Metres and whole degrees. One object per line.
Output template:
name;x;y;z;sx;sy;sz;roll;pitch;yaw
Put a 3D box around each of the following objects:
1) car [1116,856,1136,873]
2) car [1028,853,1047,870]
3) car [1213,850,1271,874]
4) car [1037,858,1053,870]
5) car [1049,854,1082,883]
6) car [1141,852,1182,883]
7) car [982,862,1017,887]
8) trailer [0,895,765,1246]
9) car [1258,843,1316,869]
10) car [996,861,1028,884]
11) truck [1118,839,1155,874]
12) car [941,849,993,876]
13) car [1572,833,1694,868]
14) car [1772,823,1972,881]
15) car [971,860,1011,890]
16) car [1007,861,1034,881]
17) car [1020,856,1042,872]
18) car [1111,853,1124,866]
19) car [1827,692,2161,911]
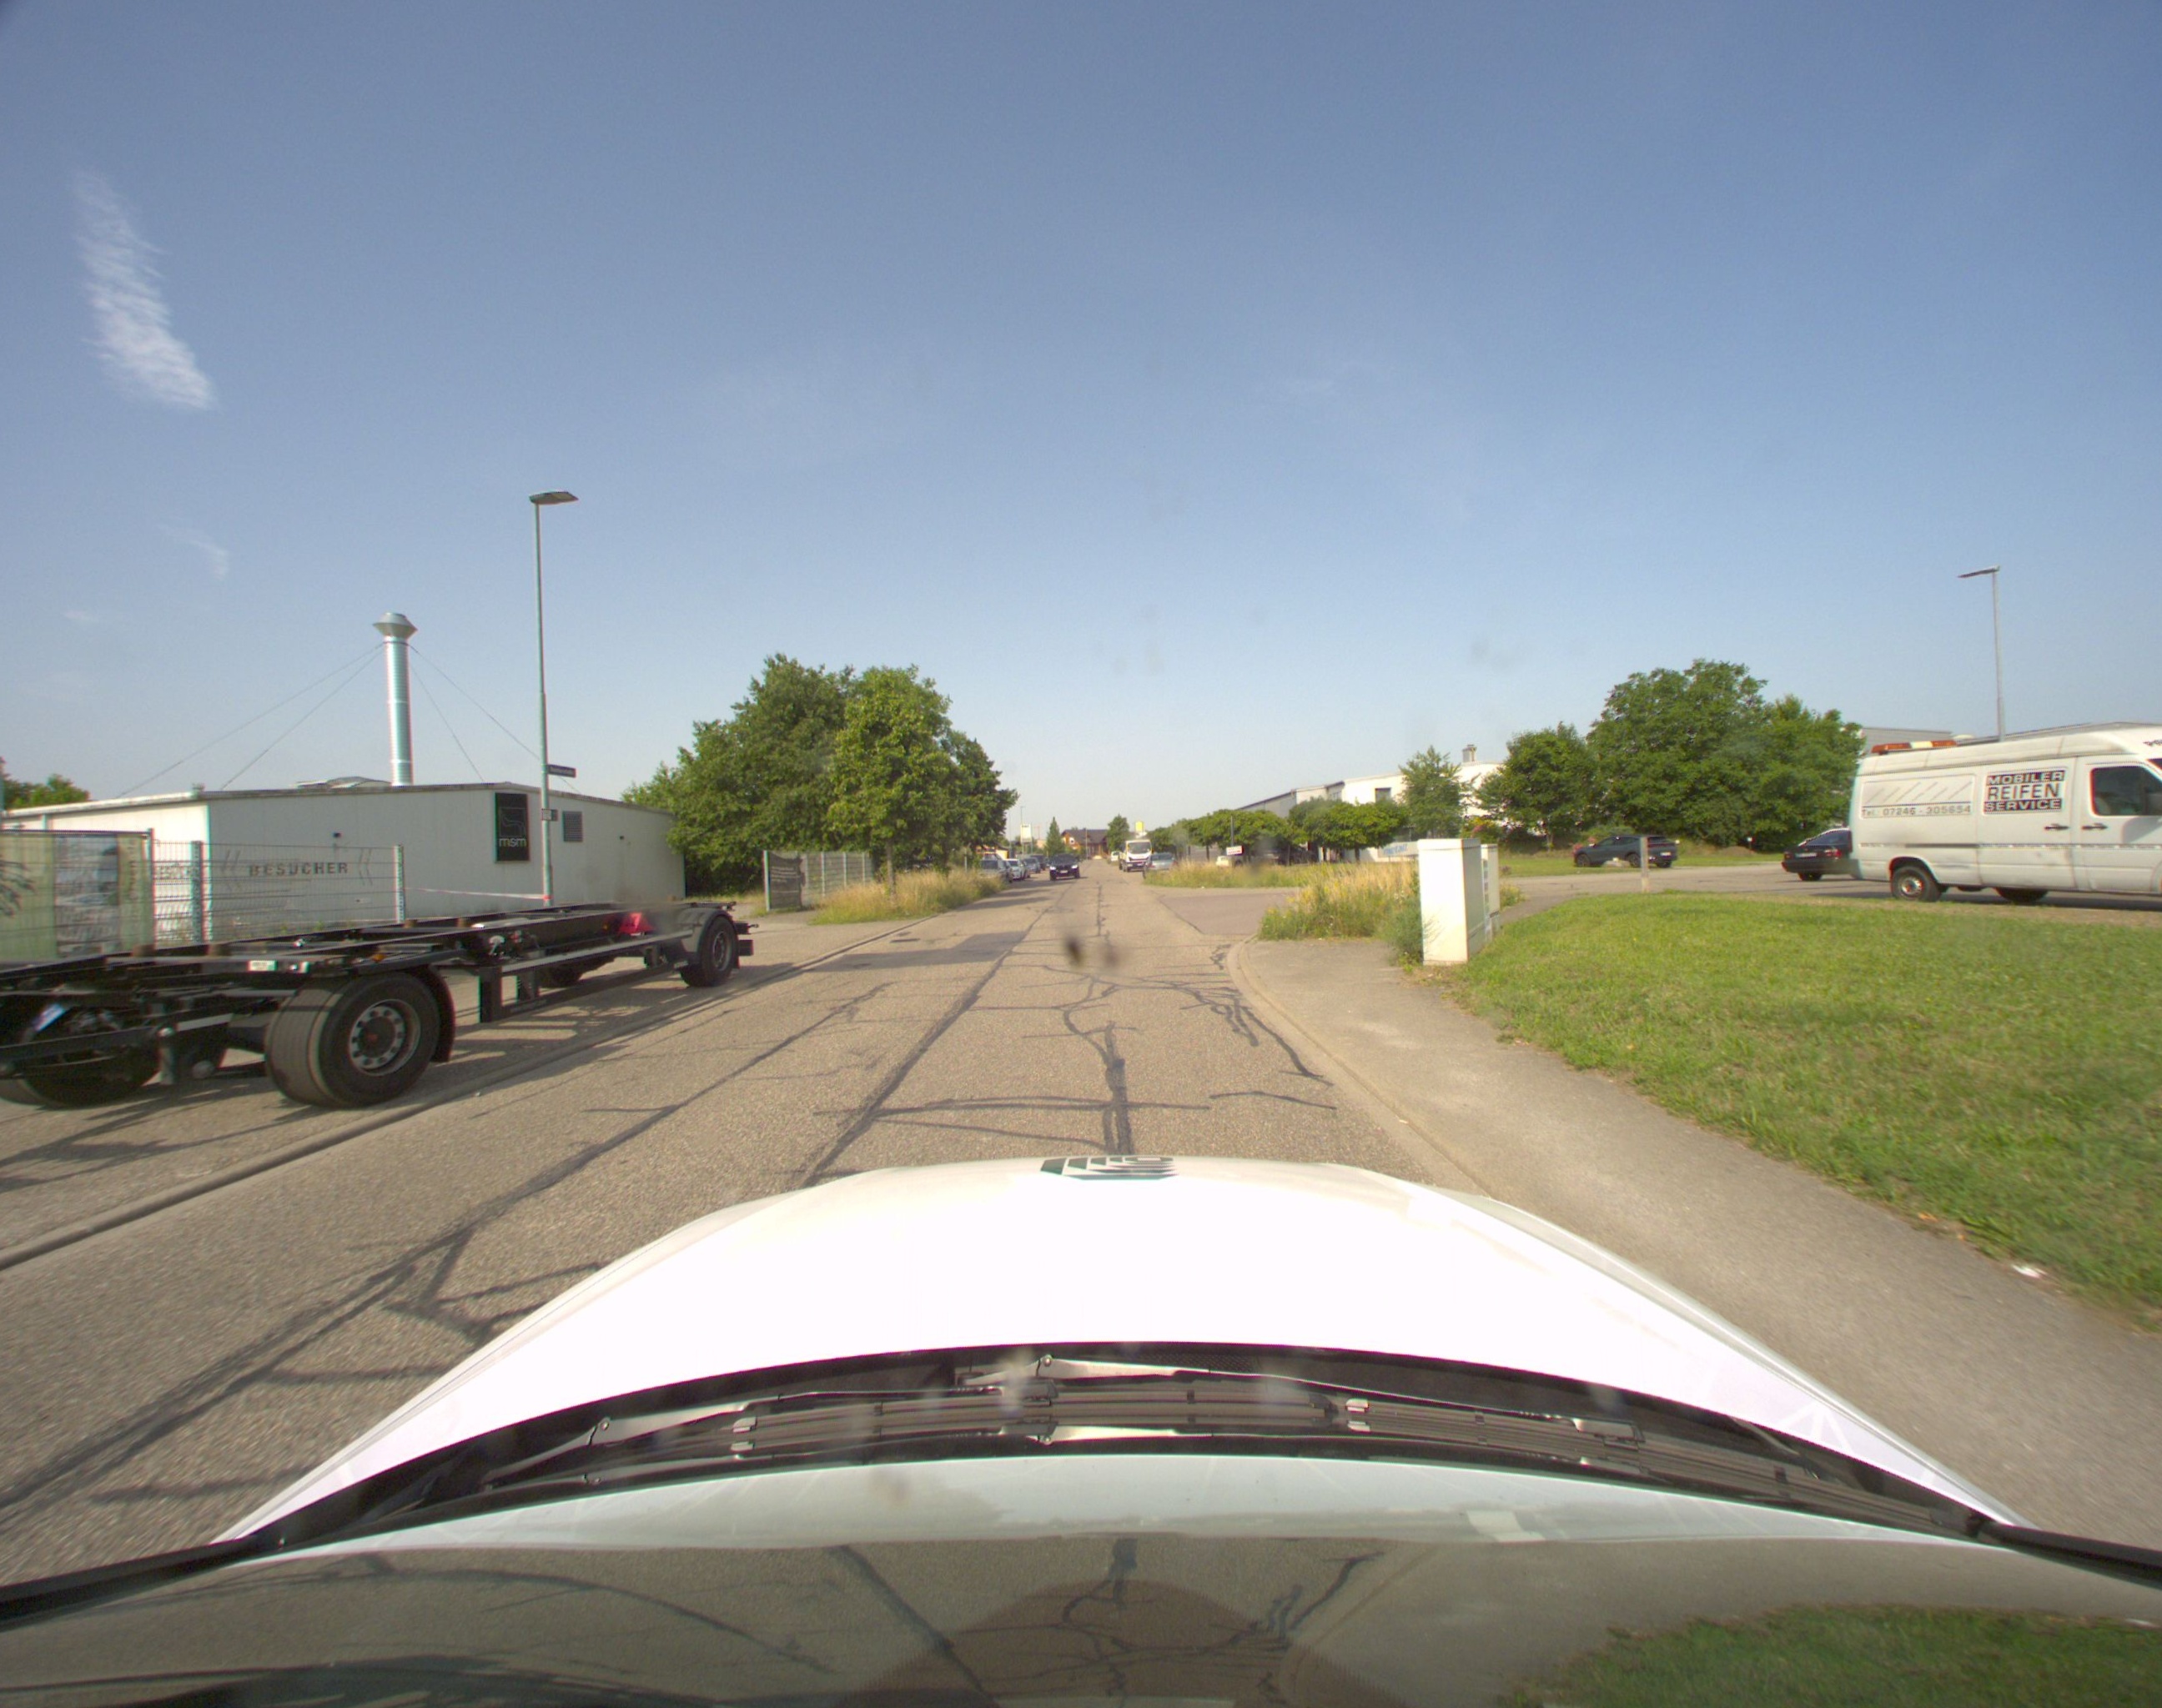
car;4.355;0.983;79.094;1.788;1.560;4.001;-3;0;1
car;-4.822;0.816;91.305;1.794;1.774;4.203;-1;0;0
car;10.505;0.529;52.984;3.716;1.380;1.668;-3;0;-39
car;-4.556;1.279;103.758;1.794;1.387;3.638;-1;0;0
car;-0.955;0.915;53.824;1.849;1.715;4.228;-4;0;2
car;4.339;0.710;44.418;1.788;1.517;4.424;-3;0;1
car;-4.920;1.211;49.648;1.572;1.443;3.966;-1;0;3
trailer;-6.036;1.183;7.355;2.573;1.184;9.364;-1;0;1
car;14.320;0.100;56.358;4.560;1.589;1.667;-2;-1;-44
car;-4.651;1.206;55.078;1.677;1.469;4.254;-1;0;1
truck;4.574;0.233;68.158;2.353;2.681;6.504;-3;0;-2
car;-11.170;0.797;80.114;4.607;2.416;2.002;-3;0;3
car;24.435;-0.113;36.251;1.785;1.409;4.322;-3;0;-16
car;22.491;-0.034;23.220;4.458;1.409;1.805;-2;-1;-10
car;-4.928;1.120;45.076;1.559;1.538;3.692;-1;0;4
car;-4.626;1.285;62.652;1.627;1.387;4.370;-1;0;1
car;-4.751;0.949;77.184;1.626;1.517;3.609;-1;0;4
car;5.791;0.854;130.290;1.831;1.924;3.757;-3;0;1
car;14.388;-0.677;11.759;1.966;2.705;5.885;-2;0;3
